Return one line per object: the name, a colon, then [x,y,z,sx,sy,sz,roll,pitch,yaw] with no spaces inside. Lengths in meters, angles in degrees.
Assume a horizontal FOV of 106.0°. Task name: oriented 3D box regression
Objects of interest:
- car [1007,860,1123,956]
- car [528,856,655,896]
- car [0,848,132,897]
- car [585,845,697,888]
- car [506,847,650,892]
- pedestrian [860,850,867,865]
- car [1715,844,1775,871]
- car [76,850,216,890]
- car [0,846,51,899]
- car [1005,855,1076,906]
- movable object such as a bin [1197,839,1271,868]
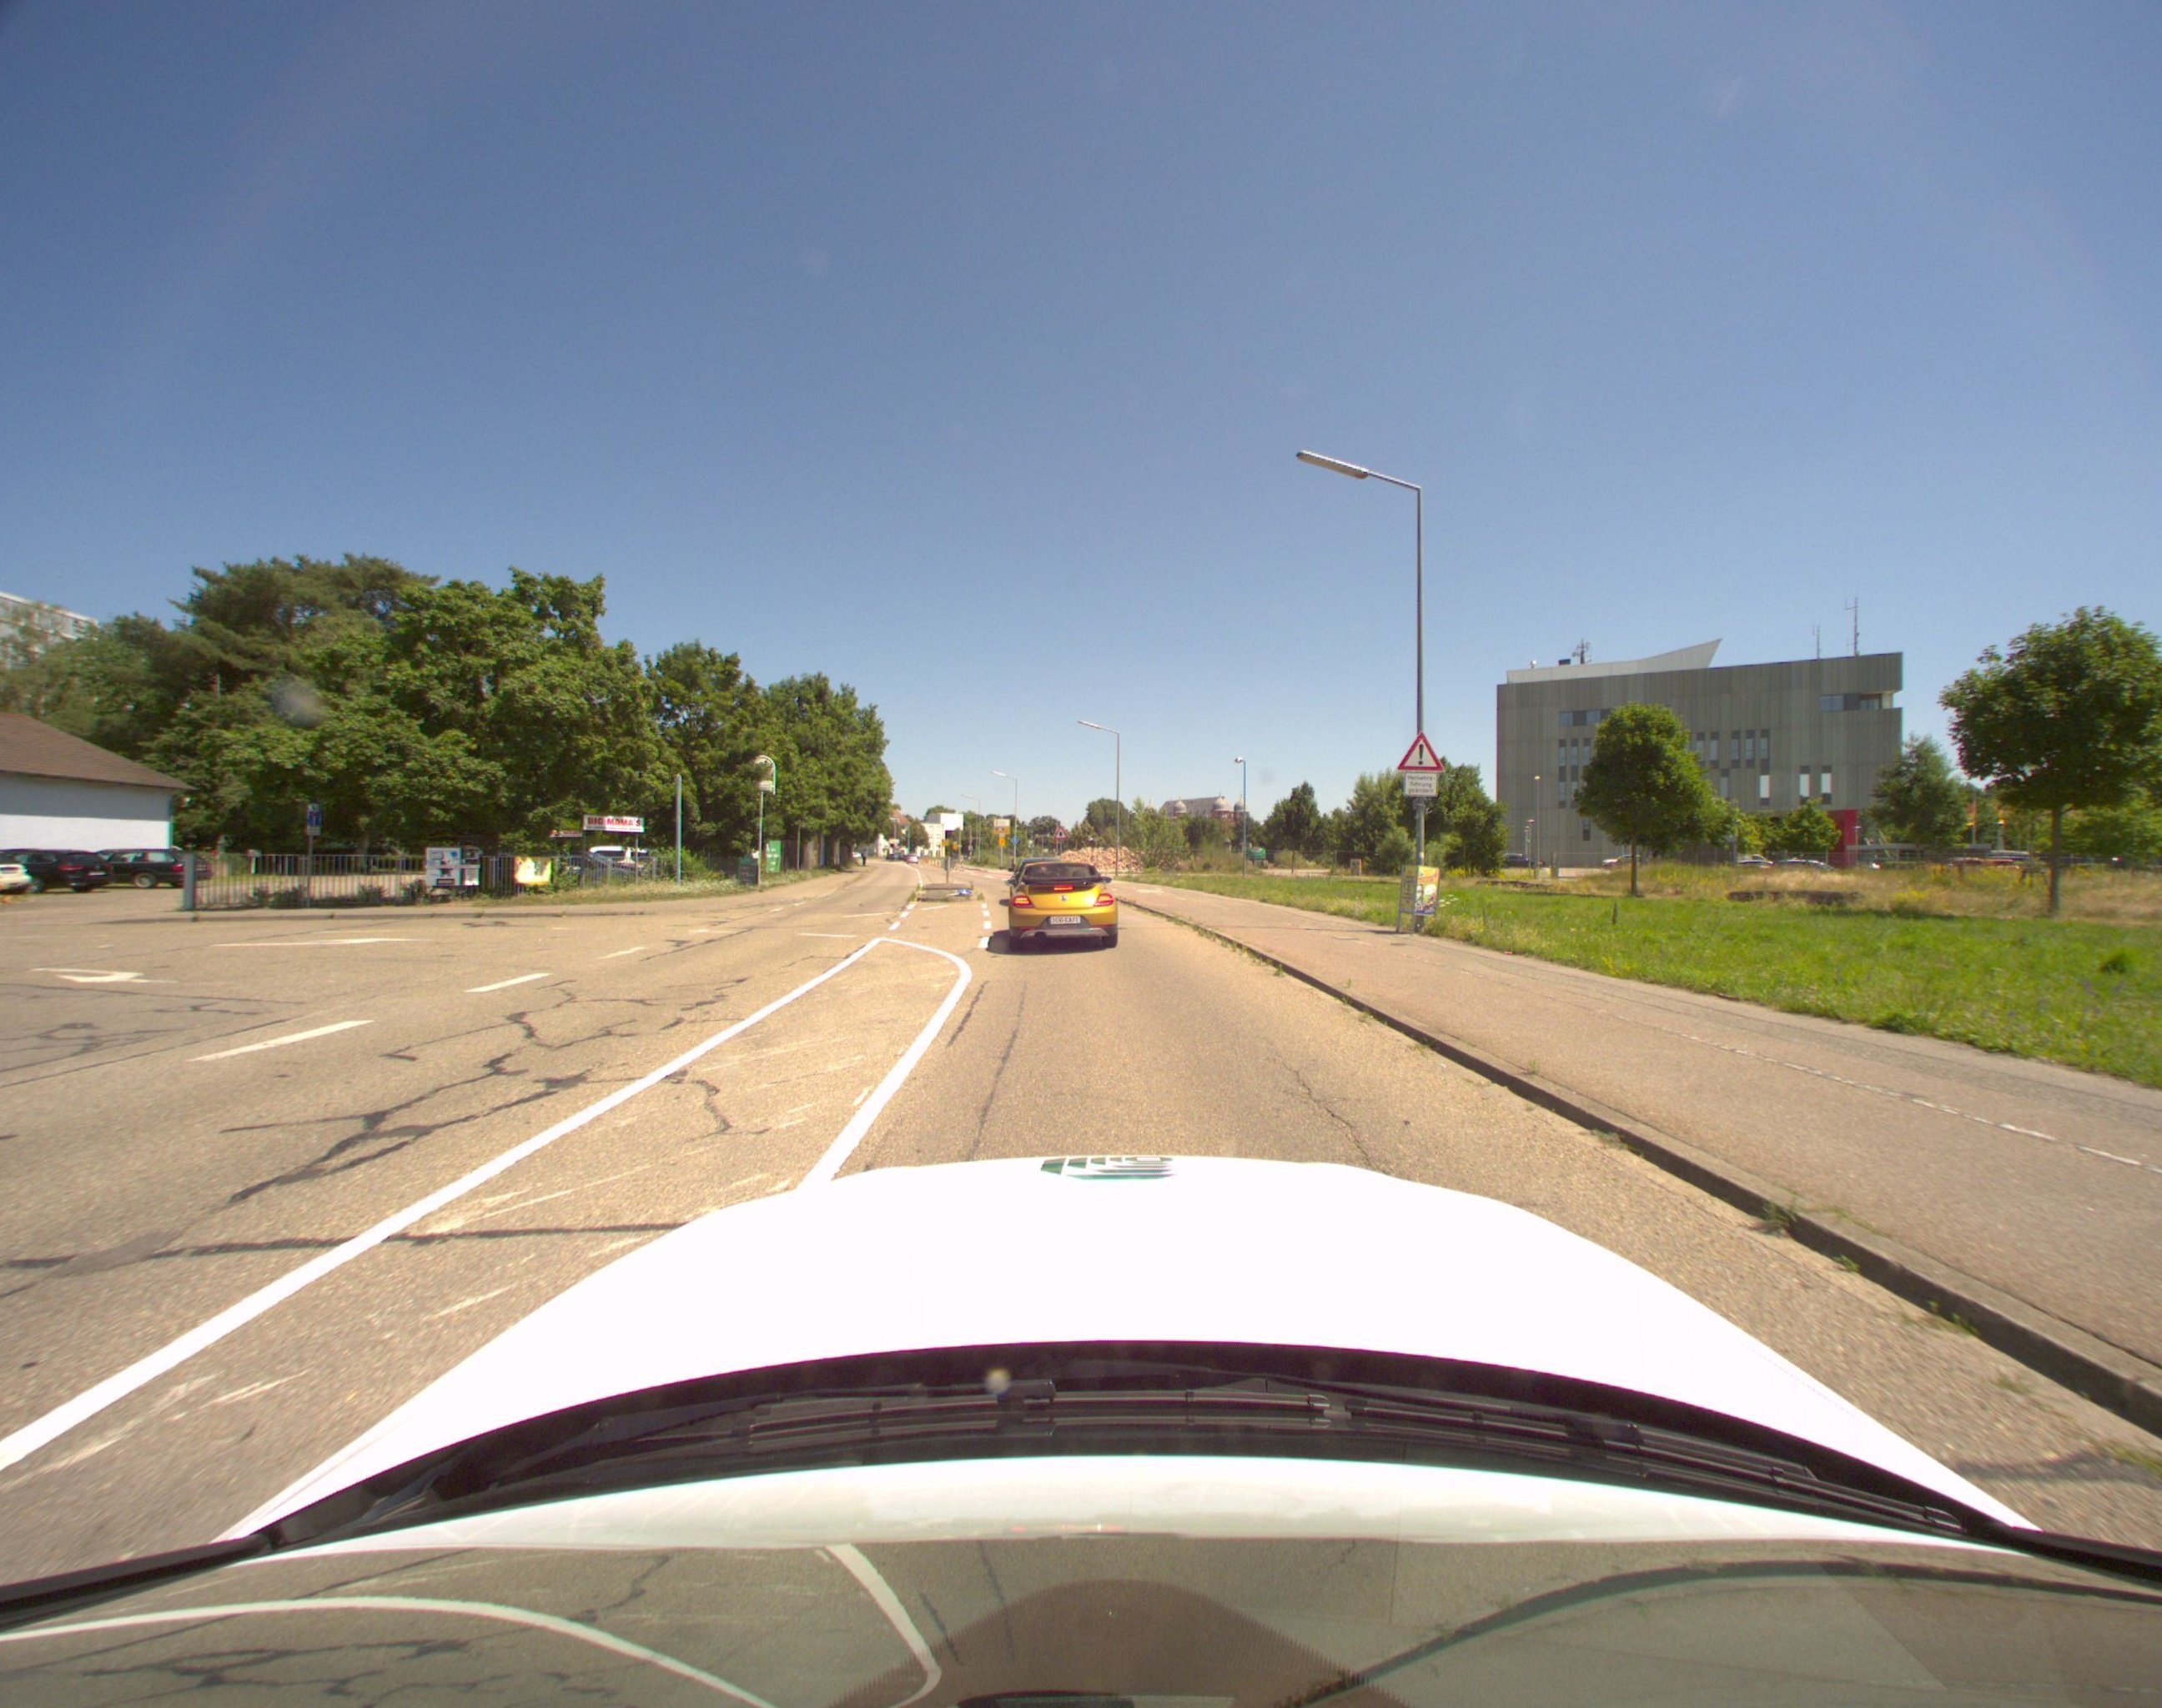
car: [-0.368,0.844,14.499,1.786,1.436,3.808,0,0,-4]
car: [-19.215,0.840,32.139,3.863,1.526,1.803,0,0,-11]
car: [-34.227,0.597,26.899,3.335,1.565,1.766,0,0,-11]
car: [-20.842,0.593,38.709,4.306,1.977,1.776,0,0,-10]
car: [-21.472,0.634,34.931,4.815,1.840,1.996,0,0,-6]
pedestrian: [-23.890,0.378,89.564,0.724,1.725,0.813,0,0,-18]
car: [57.466,0.312,70.561,3.806,2.294,1.753,0,0,29]
car: [-34.959,0.582,30.526,3.133,1.447,1.538,0,0,-11]
car: [-33.927,0.557,24.448,3.335,1.577,1.766,0,0,-11]
car: [-1.327,0.770,25.346,1.727,1.443,3.986,0,0,-10]
movable object such as a bin: [18.368,-0.035,98.871,4.948,3.260,10.415,0,0,-15]
